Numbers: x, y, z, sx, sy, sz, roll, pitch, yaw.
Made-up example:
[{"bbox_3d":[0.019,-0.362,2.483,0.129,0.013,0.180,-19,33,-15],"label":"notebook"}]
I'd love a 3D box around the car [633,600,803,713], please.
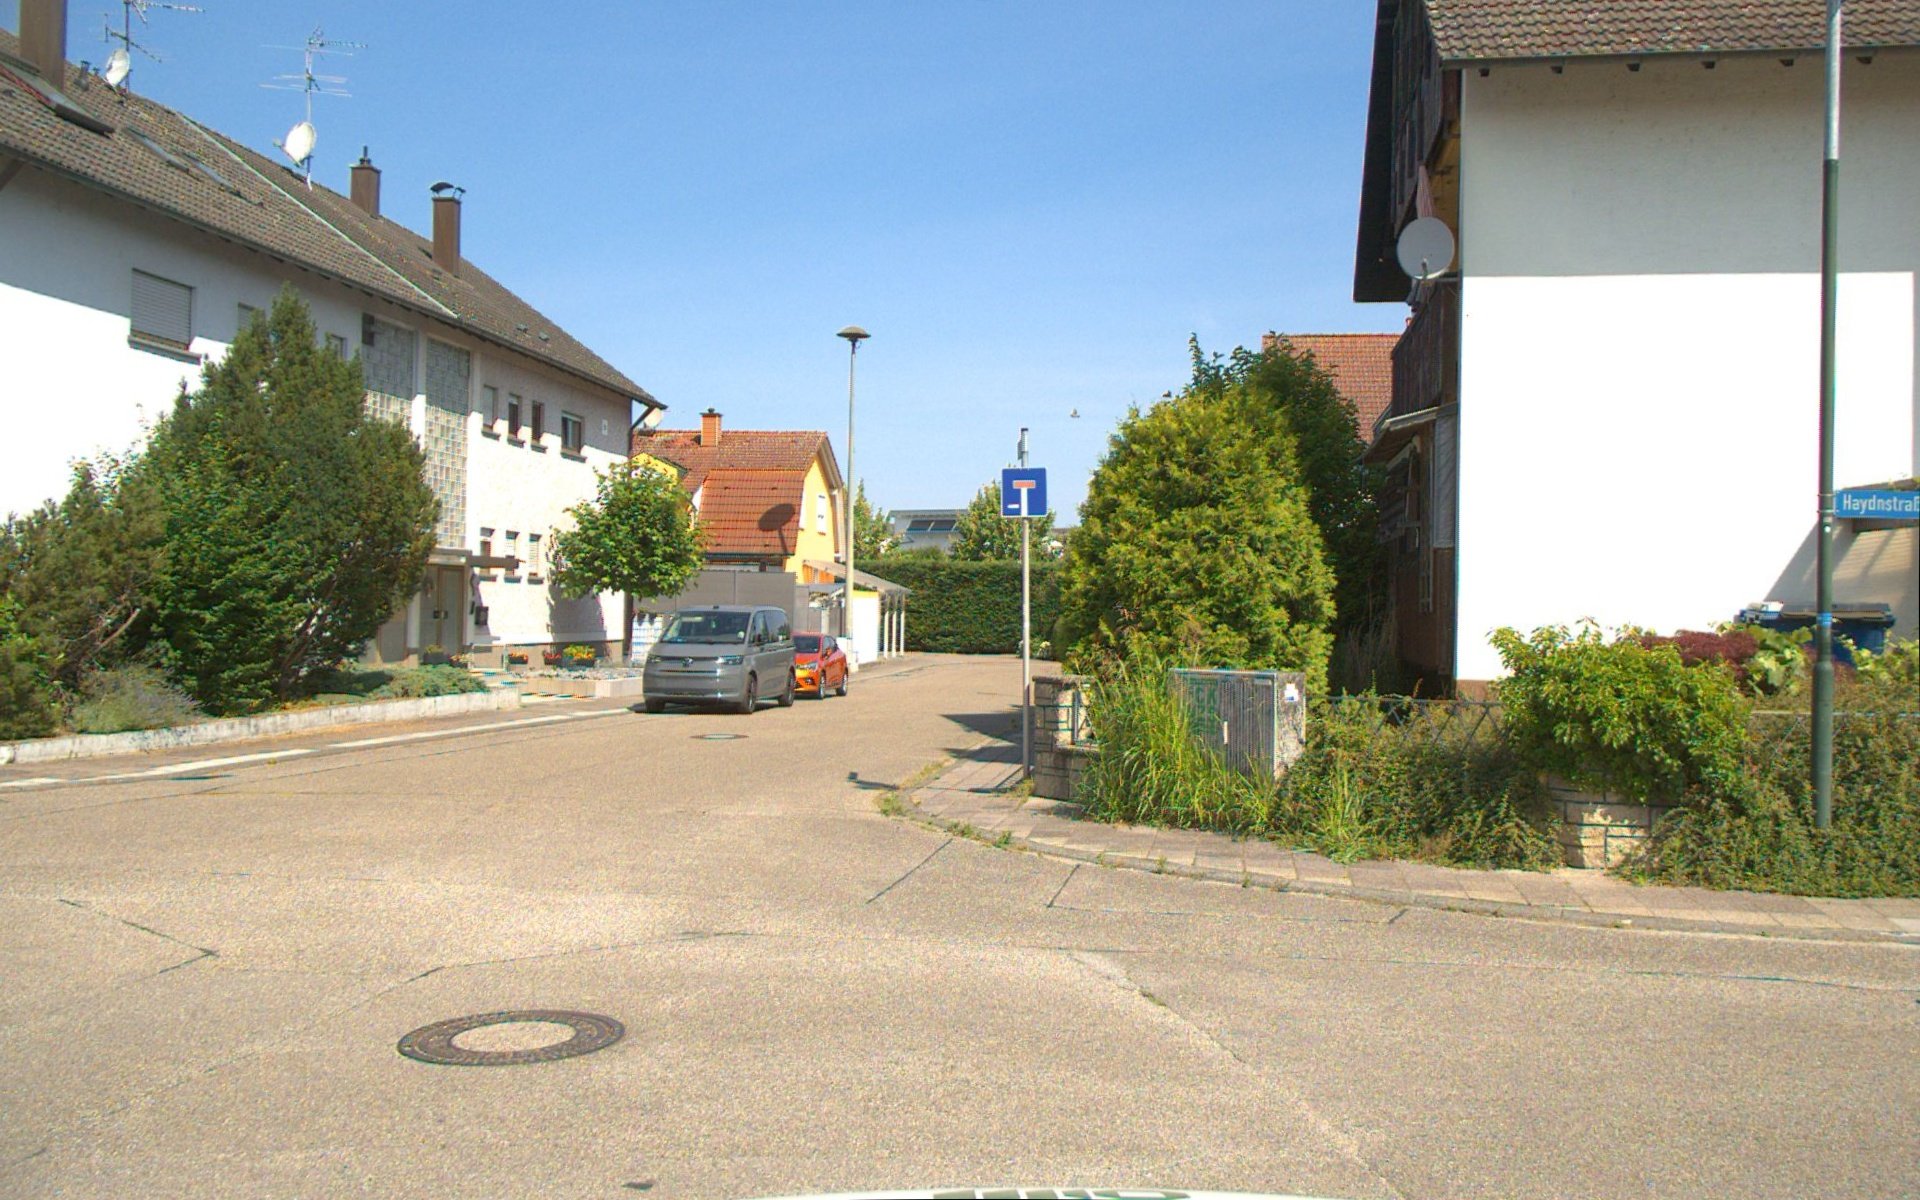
[{"bbox_3d":[-4.358,0.981,30.507,1.860,1.902,4.375,1,0,9],"label":"car"}]

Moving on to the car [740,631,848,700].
[{"bbox_3d":[-3.654,1.423,36.961,1.617,1.389,3.781,1,-1,6],"label":"car"}]
